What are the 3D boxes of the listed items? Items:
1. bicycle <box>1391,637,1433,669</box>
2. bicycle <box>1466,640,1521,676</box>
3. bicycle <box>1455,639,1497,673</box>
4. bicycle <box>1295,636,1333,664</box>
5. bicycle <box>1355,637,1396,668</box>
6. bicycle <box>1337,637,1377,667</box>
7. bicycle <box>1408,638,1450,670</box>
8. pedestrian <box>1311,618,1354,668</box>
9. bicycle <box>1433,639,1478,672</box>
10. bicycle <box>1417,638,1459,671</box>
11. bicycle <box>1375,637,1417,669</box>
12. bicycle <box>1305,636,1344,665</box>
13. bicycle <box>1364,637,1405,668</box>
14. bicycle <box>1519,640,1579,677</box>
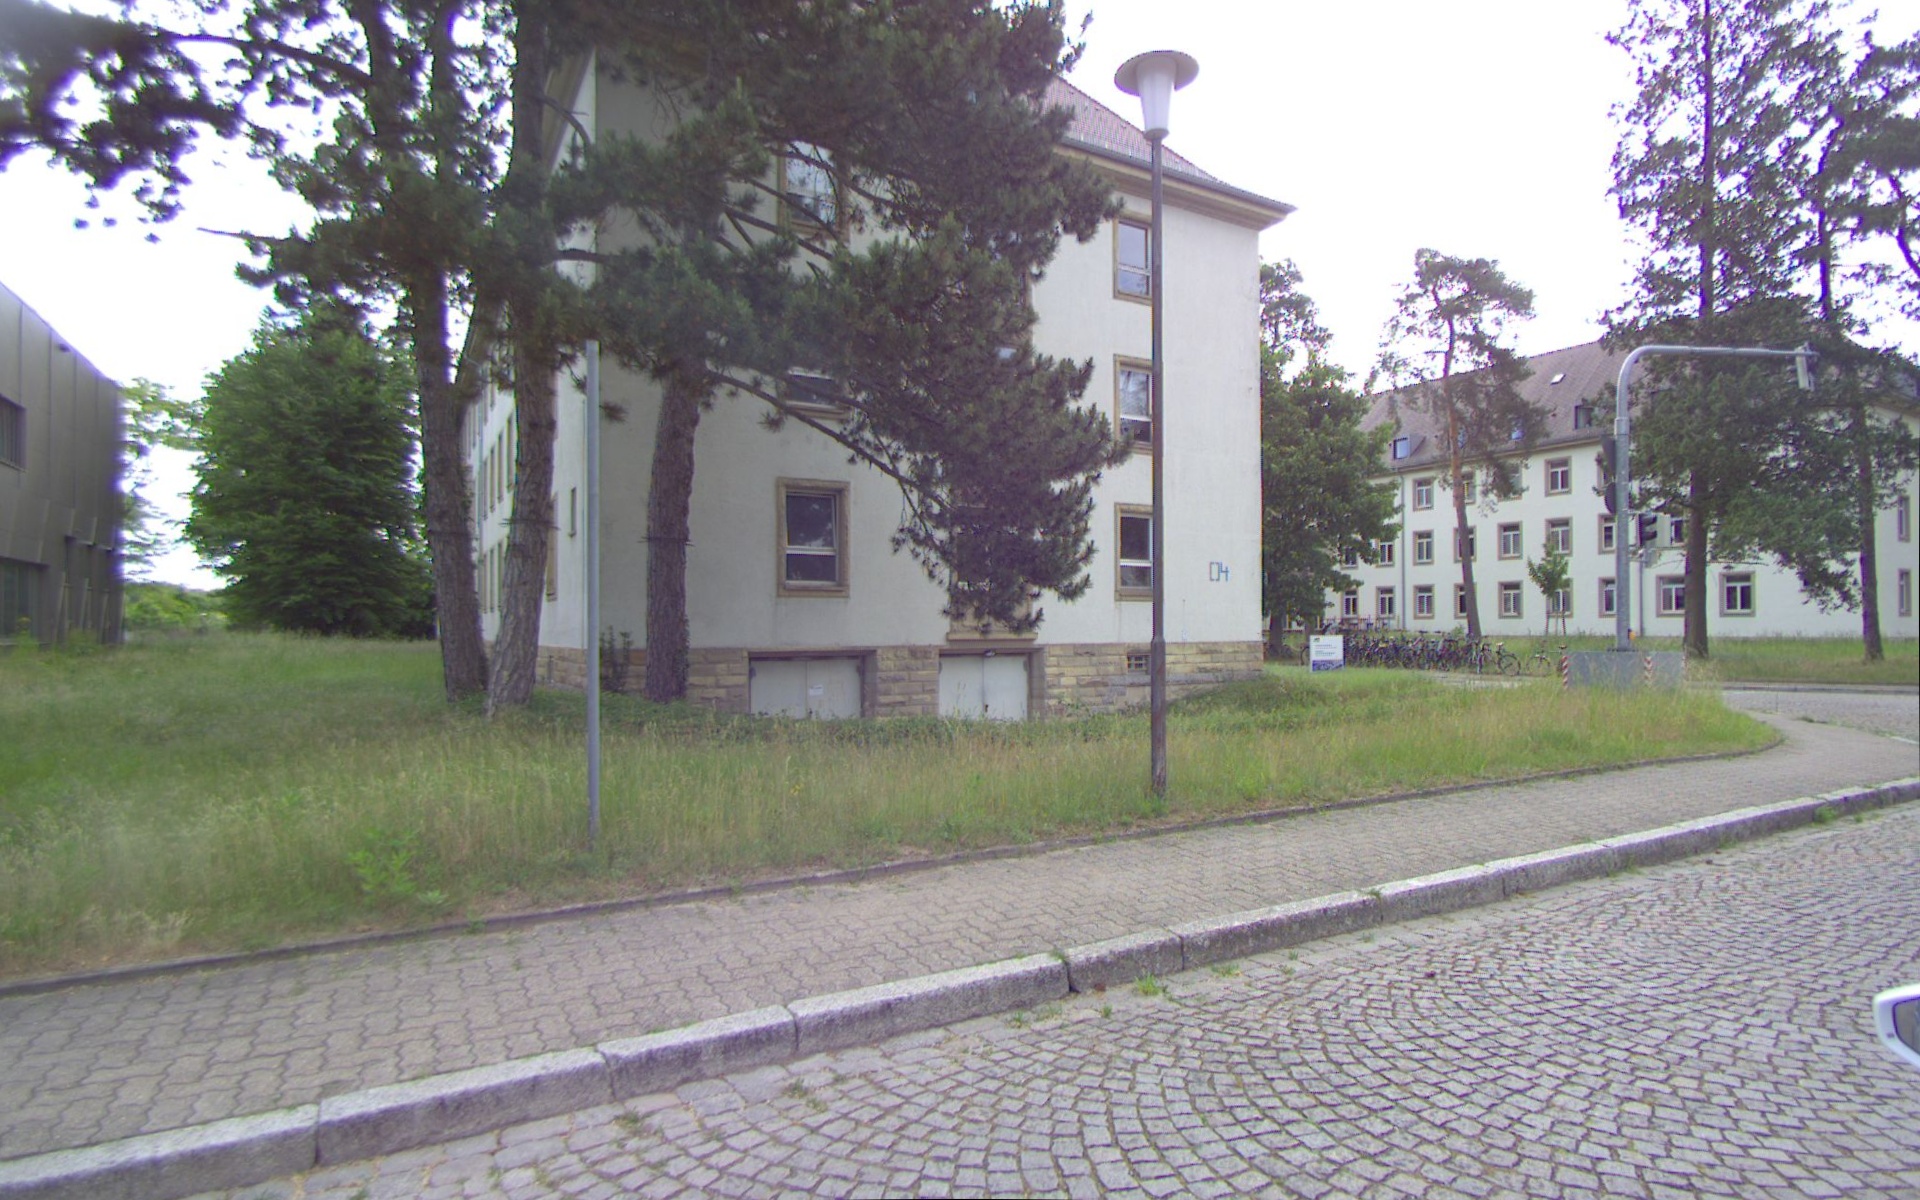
[{"bbox_3d":[15.850,1.859,35.231,1.567,1.093,0.512,1,-2,-30],"label":"bicycle"},{"bbox_3d":[16.579,1.799,31.255,0.510,1.093,1.457,1,-2,-31],"label":"bicycle"},{"bbox_3d":[17.052,1.852,33.190,1.568,1.093,0.511,1,-2,-33],"label":"bicycle"},{"bbox_3d":[13.726,1.932,38.945,1.567,1.093,0.512,1,-2,-30],"label":"bicycle"},{"bbox_3d":[15.100,1.912,36.479,1.567,1.093,0.512,1,-2,-30],"label":"bicycle"},{"bbox_3d":[14.707,1.928,37.171,1.567,1.093,0.512,1,-2,-30],"label":"bicycle"},{"bbox_3d":[16.201,1.849,34.708,1.567,1.093,0.512,1,-2,-30],"label":"bicycle"},{"bbox_3d":[13.857,1.578,37.364,1.135,1.812,1.064,-2,-1,-2],"label":"pedestrian"},{"bbox_3d":[16.643,1.849,33.733,1.565,1.093,0.512,1,-2,-28],"label":"bicycle"},{"bbox_3d":[16.375,1.850,34.392,1.567,1.093,0.512,1,-2,-30],"label":"bicycle"},{"bbox_3d":[15.525,1.880,35.761,1.567,1.093,0.512,1,-2,-30],"label":"bicycle"},{"bbox_3d":[13.982,1.933,38.515,1.567,1.093,0.512,1,-2,-30],"label":"bicycle"},{"bbox_3d":[15.296,1.883,36.149,1.567,1.093,0.512,1,-2,-30],"label":"bicycle"},{"bbox_3d":[17.527,1.729,29.921,0.510,1.079,1.457,1,-2,-31],"label":"bicycle"}]
